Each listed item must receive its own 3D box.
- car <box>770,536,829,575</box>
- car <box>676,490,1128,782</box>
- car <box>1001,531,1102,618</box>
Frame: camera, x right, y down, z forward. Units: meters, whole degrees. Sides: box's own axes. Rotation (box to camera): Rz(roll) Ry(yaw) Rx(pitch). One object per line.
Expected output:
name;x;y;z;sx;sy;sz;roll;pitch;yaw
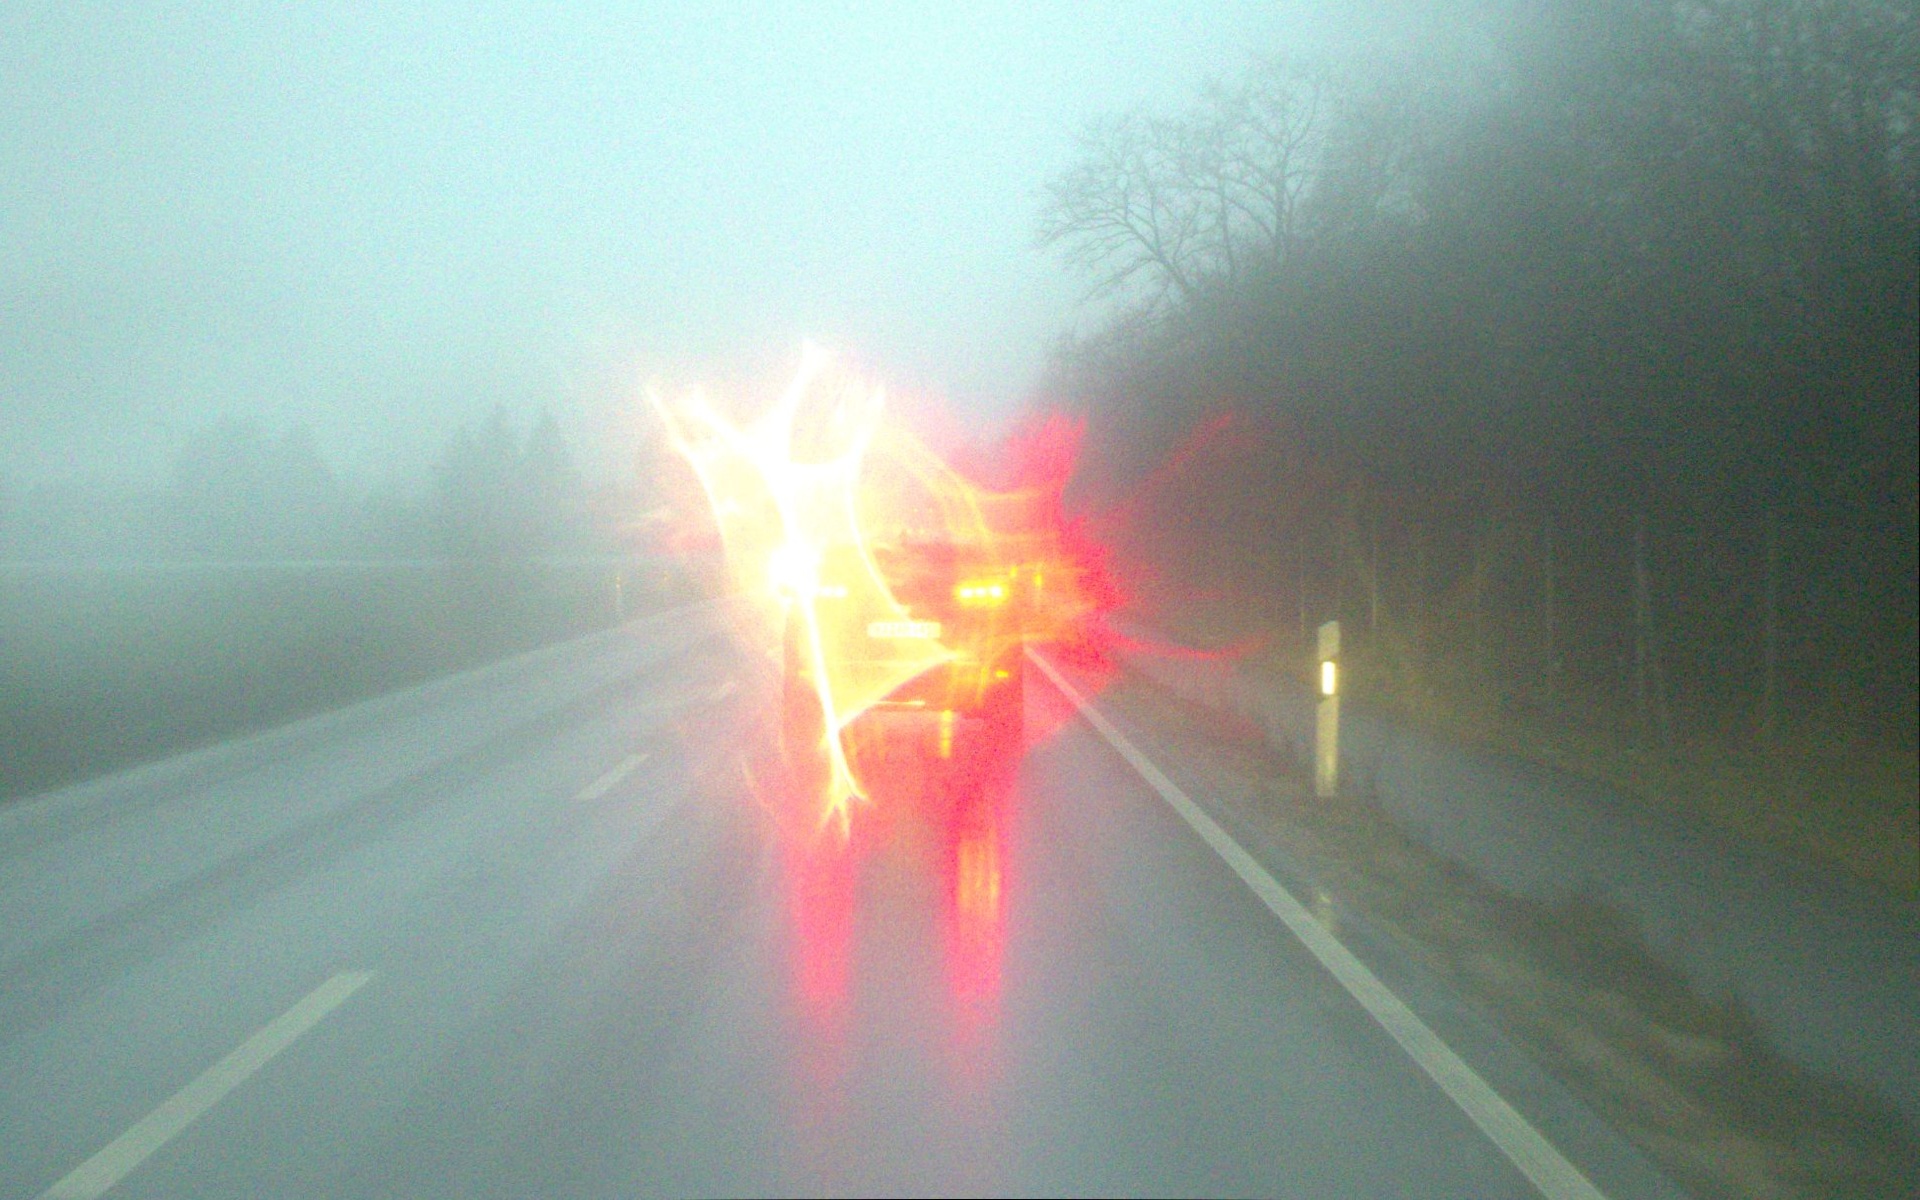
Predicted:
car;-5.855;-1.641;126.014;1.993;1.367;4.398;1;1;-1
car;-0.445;0.181;27.660;3.164;2.028;6.852;-1;1;-1
car;1.897;-0.547;72.333;1.928;1.744;4.000;1;1;-1
